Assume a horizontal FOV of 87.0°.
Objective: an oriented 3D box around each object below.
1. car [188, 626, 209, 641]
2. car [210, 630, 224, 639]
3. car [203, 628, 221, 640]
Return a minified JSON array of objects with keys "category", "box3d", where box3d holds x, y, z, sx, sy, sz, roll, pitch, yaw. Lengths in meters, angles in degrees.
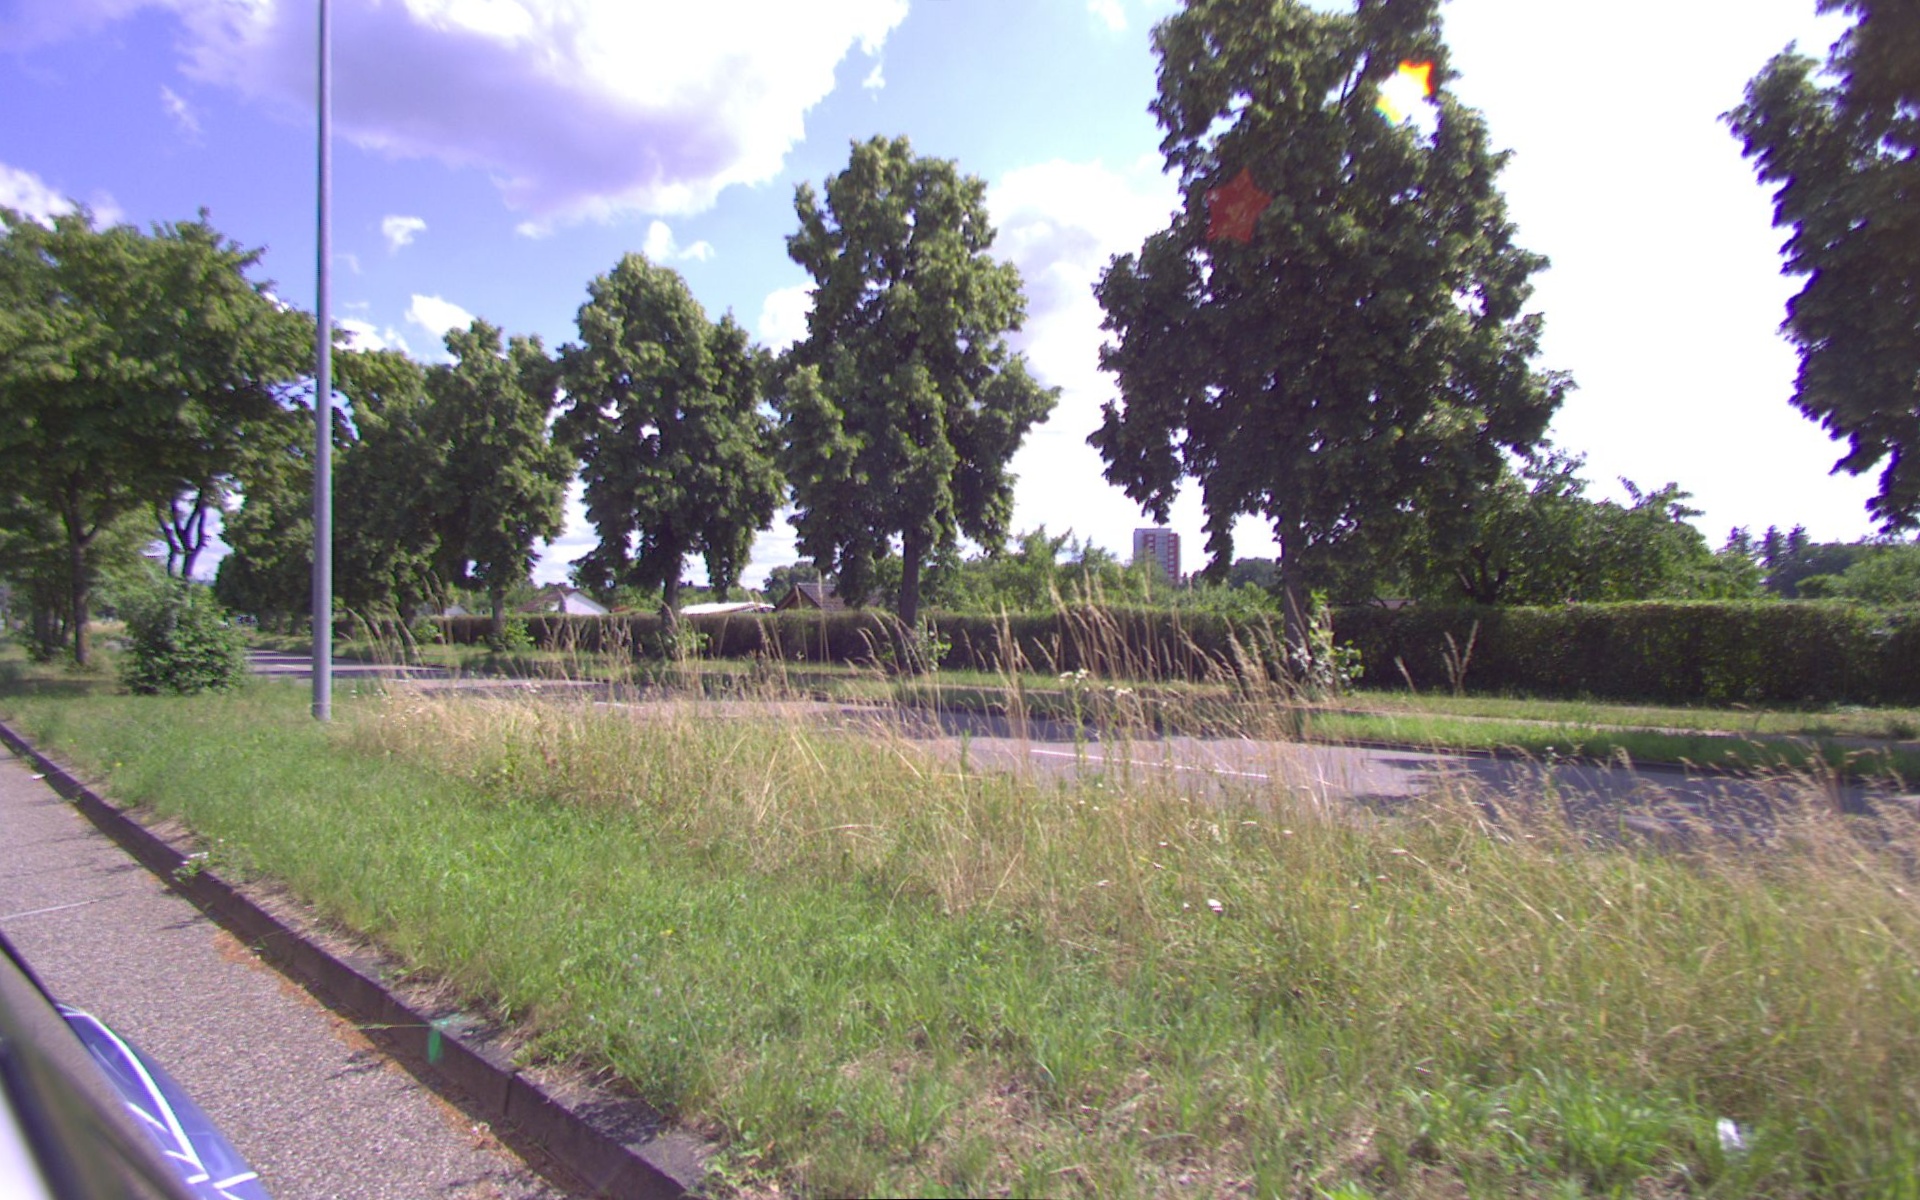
[{"category":"car","box3d":[-84.721,3.743,112.590,1.714,1.598,4.121,3,-3,-37]},{"category":"car","box3d":[-131.967,6.105,179.815,1.713,1.598,4.123,2,-3,-34]},{"category":"car","box3d":[-104.137,4.772,140.890,1.713,1.598,4.123,2,-3,-34]}]
